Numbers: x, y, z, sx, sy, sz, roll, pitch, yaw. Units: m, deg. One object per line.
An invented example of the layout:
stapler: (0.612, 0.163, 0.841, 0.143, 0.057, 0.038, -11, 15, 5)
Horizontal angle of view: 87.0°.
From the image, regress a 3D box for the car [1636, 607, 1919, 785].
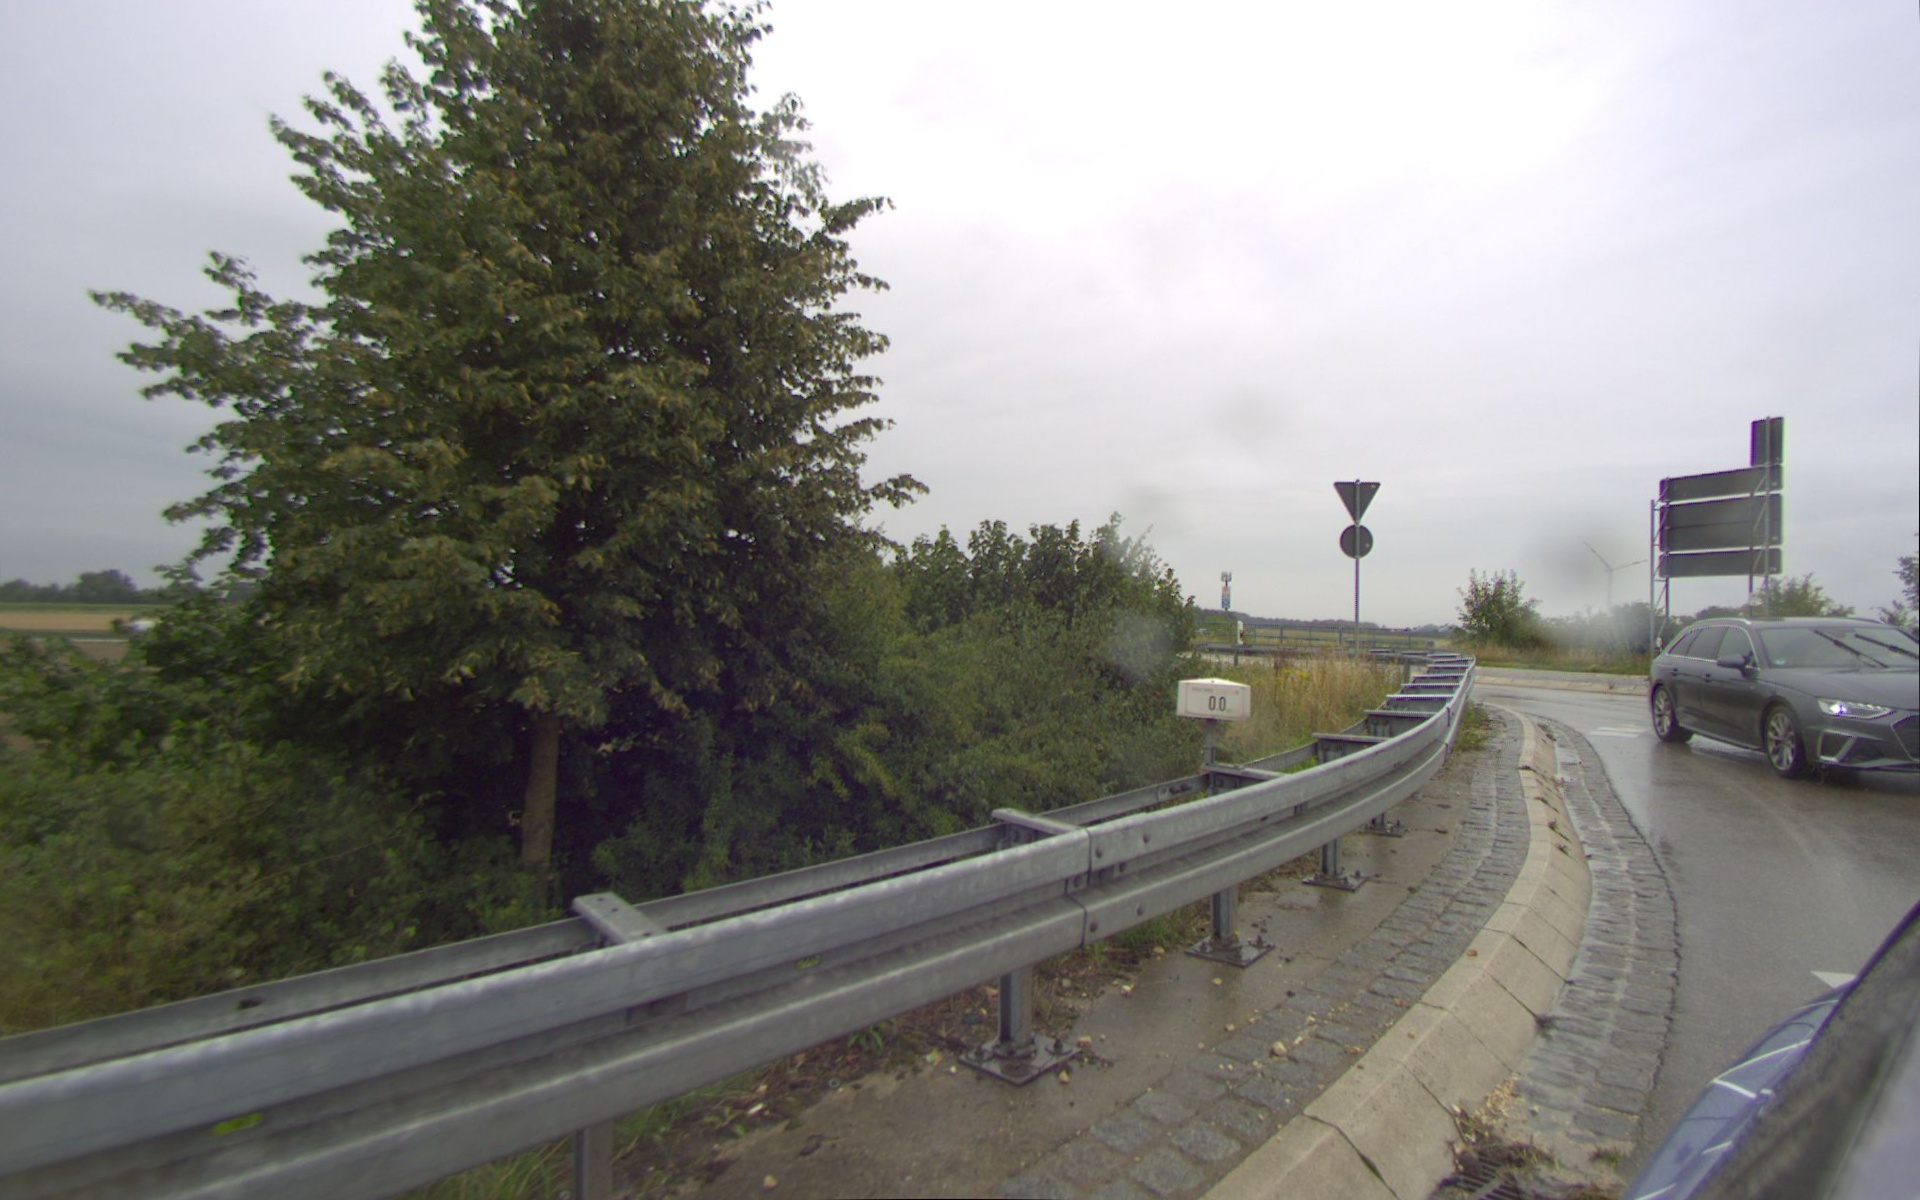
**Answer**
car: (8.480, 0.781, 9.924, 1.885, 1.387, 4.536, -1, -1, 18)
